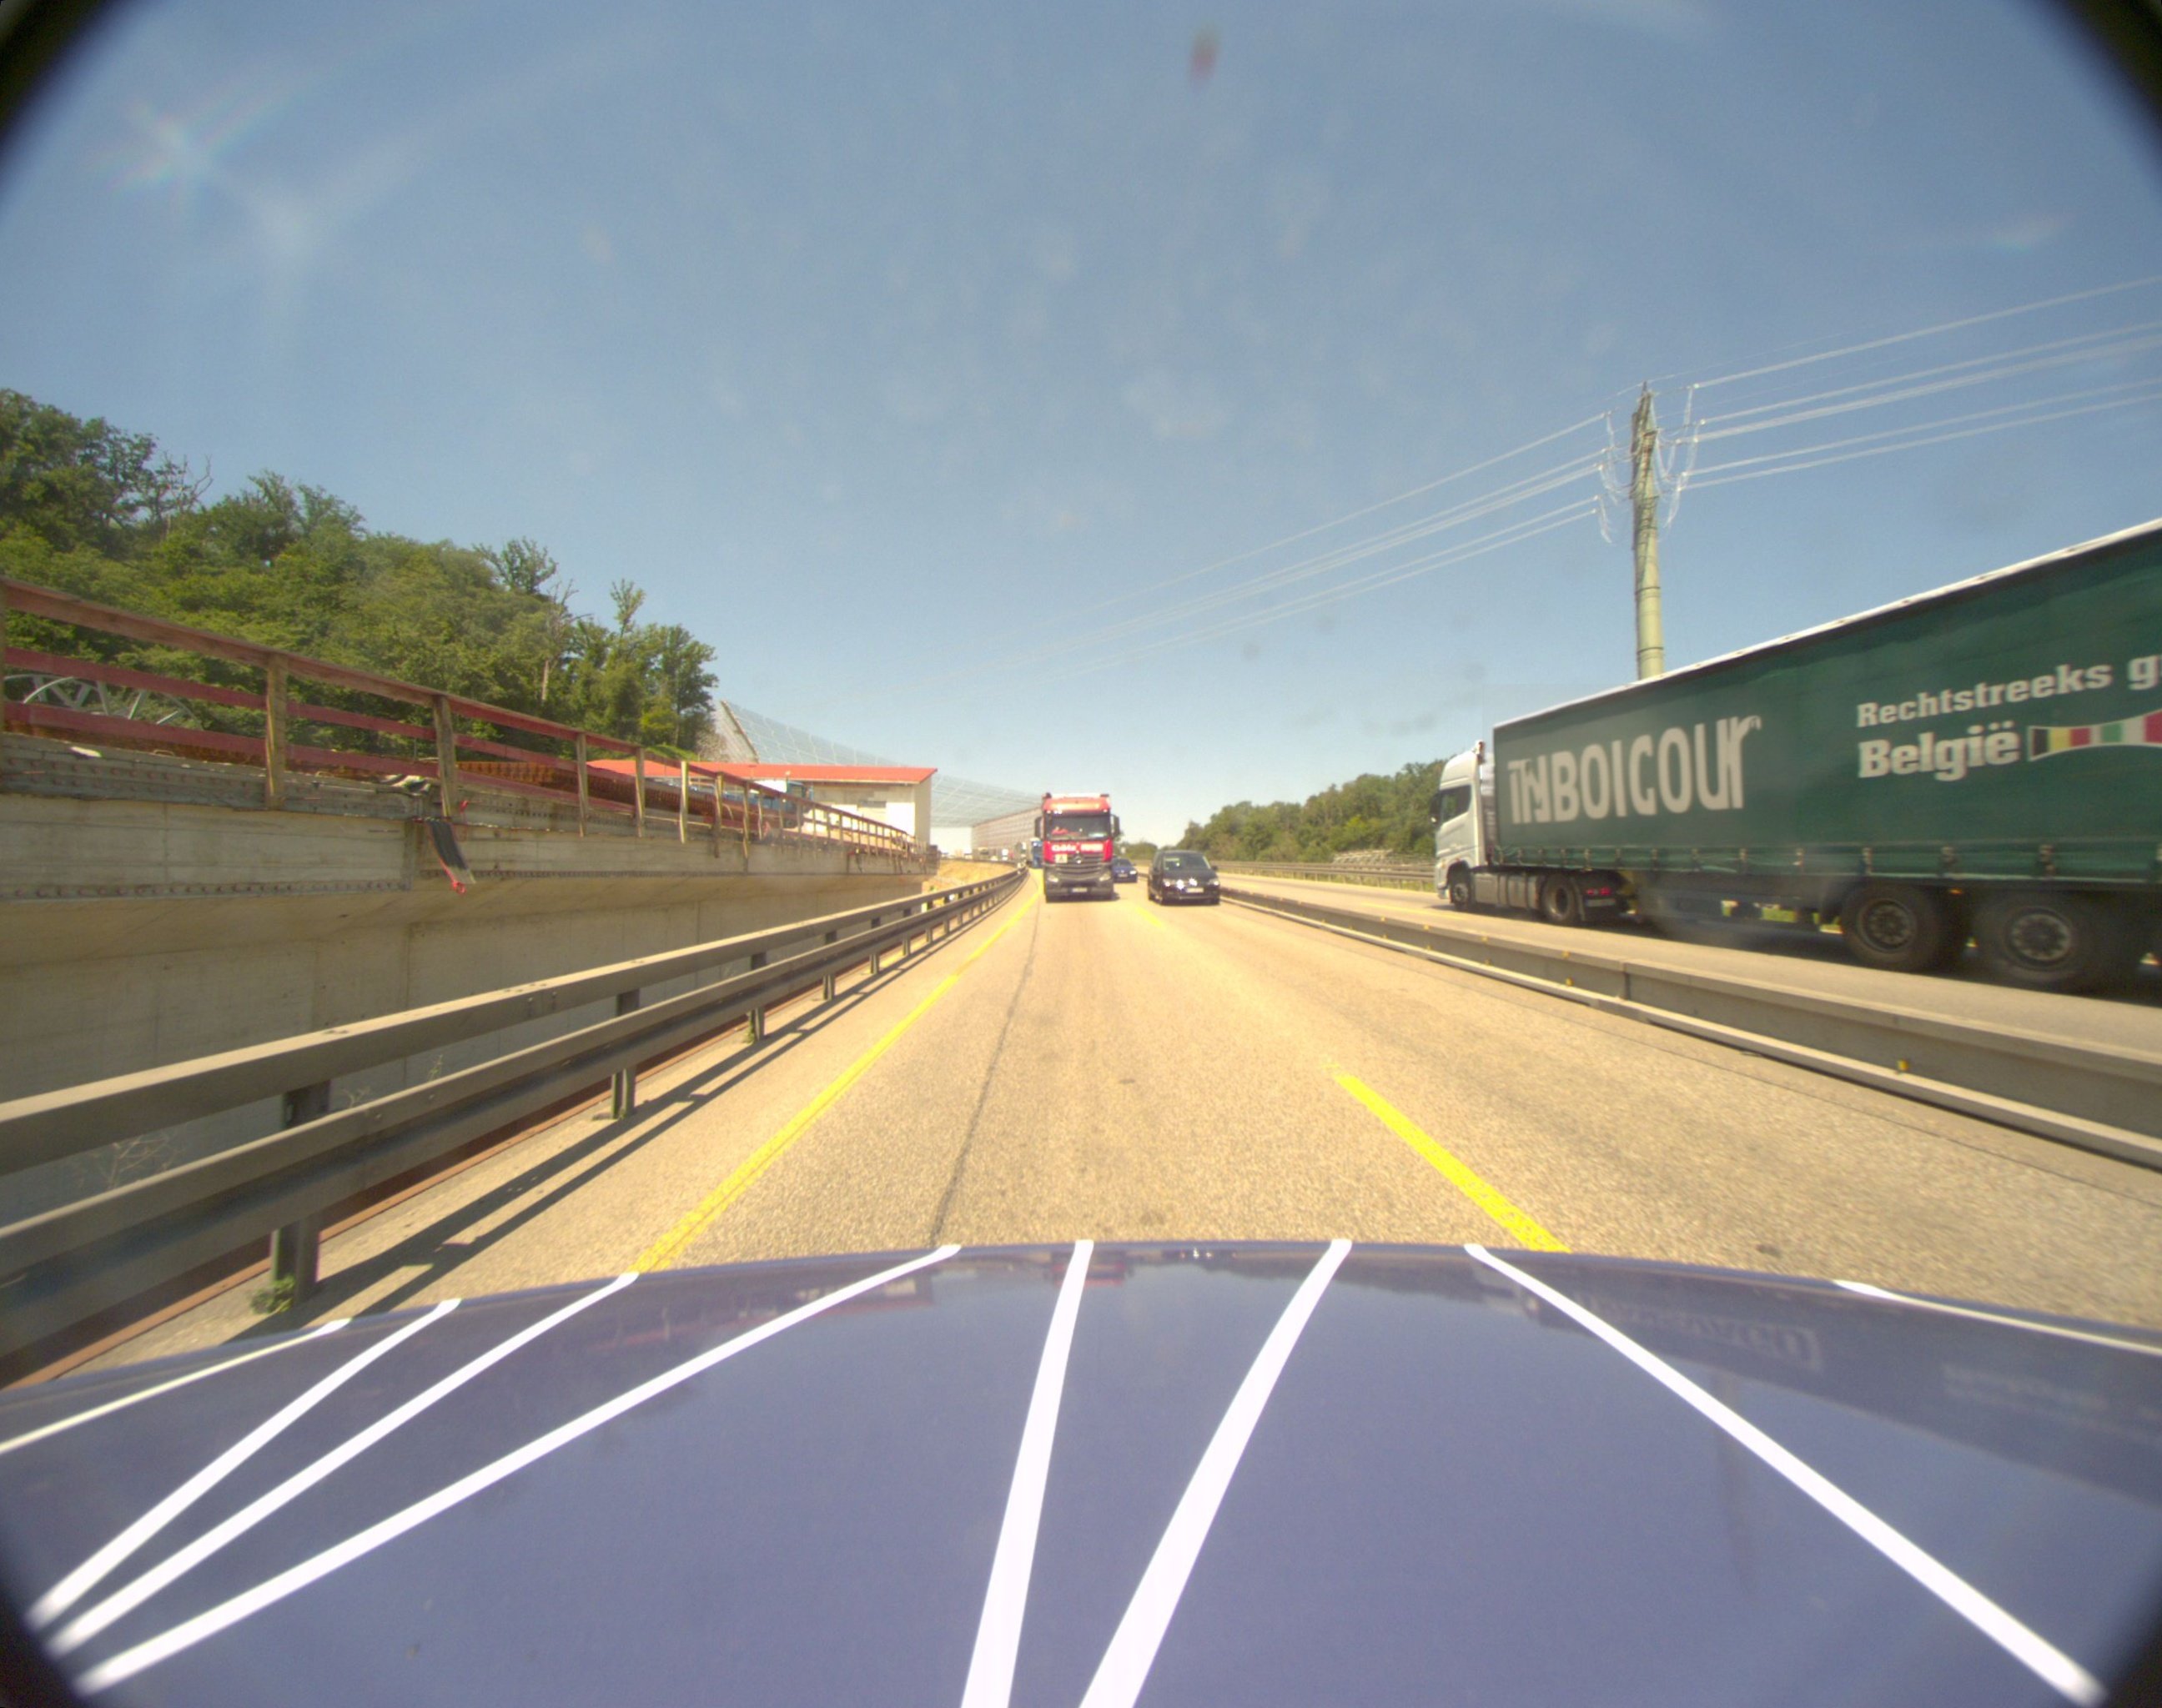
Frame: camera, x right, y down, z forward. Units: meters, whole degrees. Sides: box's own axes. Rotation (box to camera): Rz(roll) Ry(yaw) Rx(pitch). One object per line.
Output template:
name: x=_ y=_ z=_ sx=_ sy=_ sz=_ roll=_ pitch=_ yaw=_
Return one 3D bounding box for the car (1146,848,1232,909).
car: x=3.291 y=0.719 z=24.172 sx=1.861 sy=1.695 sz=5.303 roll=-2 pitch=0 yaw=-1

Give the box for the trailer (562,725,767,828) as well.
trailer: x=-19.514 y=-3.435 z=36.528 sx=2.713 sy=3.671 sz=9.012 roll=-1 pitch=-2 yaw=21

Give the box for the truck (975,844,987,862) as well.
truck: x=-27.718 y=-0.252 z=210.352 sx=3.043 sy=4.778 sz=8.933 roll=-2 pitch=1 yaw=-9

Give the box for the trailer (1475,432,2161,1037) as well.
trailer: x=10.148 y=-1.031 z=9.697 sx=3.072 sy=4.788 sz=13.999 roll=-2 pitch=1 yaw=1

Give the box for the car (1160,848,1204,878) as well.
car: x=6.070 y=0.488 z=46.175 sx=1.998 sy=1.630 sz=4.853 roll=-2 pitch=1 yaw=1

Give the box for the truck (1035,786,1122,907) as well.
truck: x=-0.211 y=-0.322 z=30.812 sx=2.798 sy=3.986 sz=10.426 roll=-2 pitch=1 yaw=-1

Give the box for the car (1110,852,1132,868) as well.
car: x=4.484 y=0.628 z=86.444 sx=1.917 sy=1.695 sz=4.734 roll=-2 pitch=0 yaw=-3

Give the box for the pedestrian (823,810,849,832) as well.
pedestrian: x=-13.303 y=-1.786 z=41.298 sx=1.022 sy=1.144 sz=0.994 roll=-2 pitch=1 yaw=4

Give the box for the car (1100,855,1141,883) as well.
car: x=2.300 y=0.880 z=45.491 sx=1.896 sy=1.546 sz=4.785 roll=-2 pitch=0 yaw=-3

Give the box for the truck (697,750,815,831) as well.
truck: x=-17.599 y=-3.310 z=41.545 sx=2.713 sy=3.671 sz=5.721 roll=-1 pitch=-2 yaw=21

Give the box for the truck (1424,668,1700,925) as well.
truck: x=10.193 y=-1.118 z=16.753 sx=3.069 sy=4.794 sz=4.644 roll=-2 pitch=1 yaw=-1

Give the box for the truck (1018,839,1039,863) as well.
truck: x=-9.698 y=-0.541 z=139.487 sx=2.912 sy=4.207 sz=9.233 roll=-2 pitch=1 yaw=-8

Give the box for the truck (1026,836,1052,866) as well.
truck: x=-6.124 y=-0.468 z=109.289 sx=2.673 sy=3.986 sz=10.420 roll=-2 pitch=1 yaw=-8

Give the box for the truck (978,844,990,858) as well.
truck: x=-29.419 y=-1.070 z=229.763 sx=3.044 sy=4.033 sz=8.666 roll=-2 pitch=1 yaw=-10
